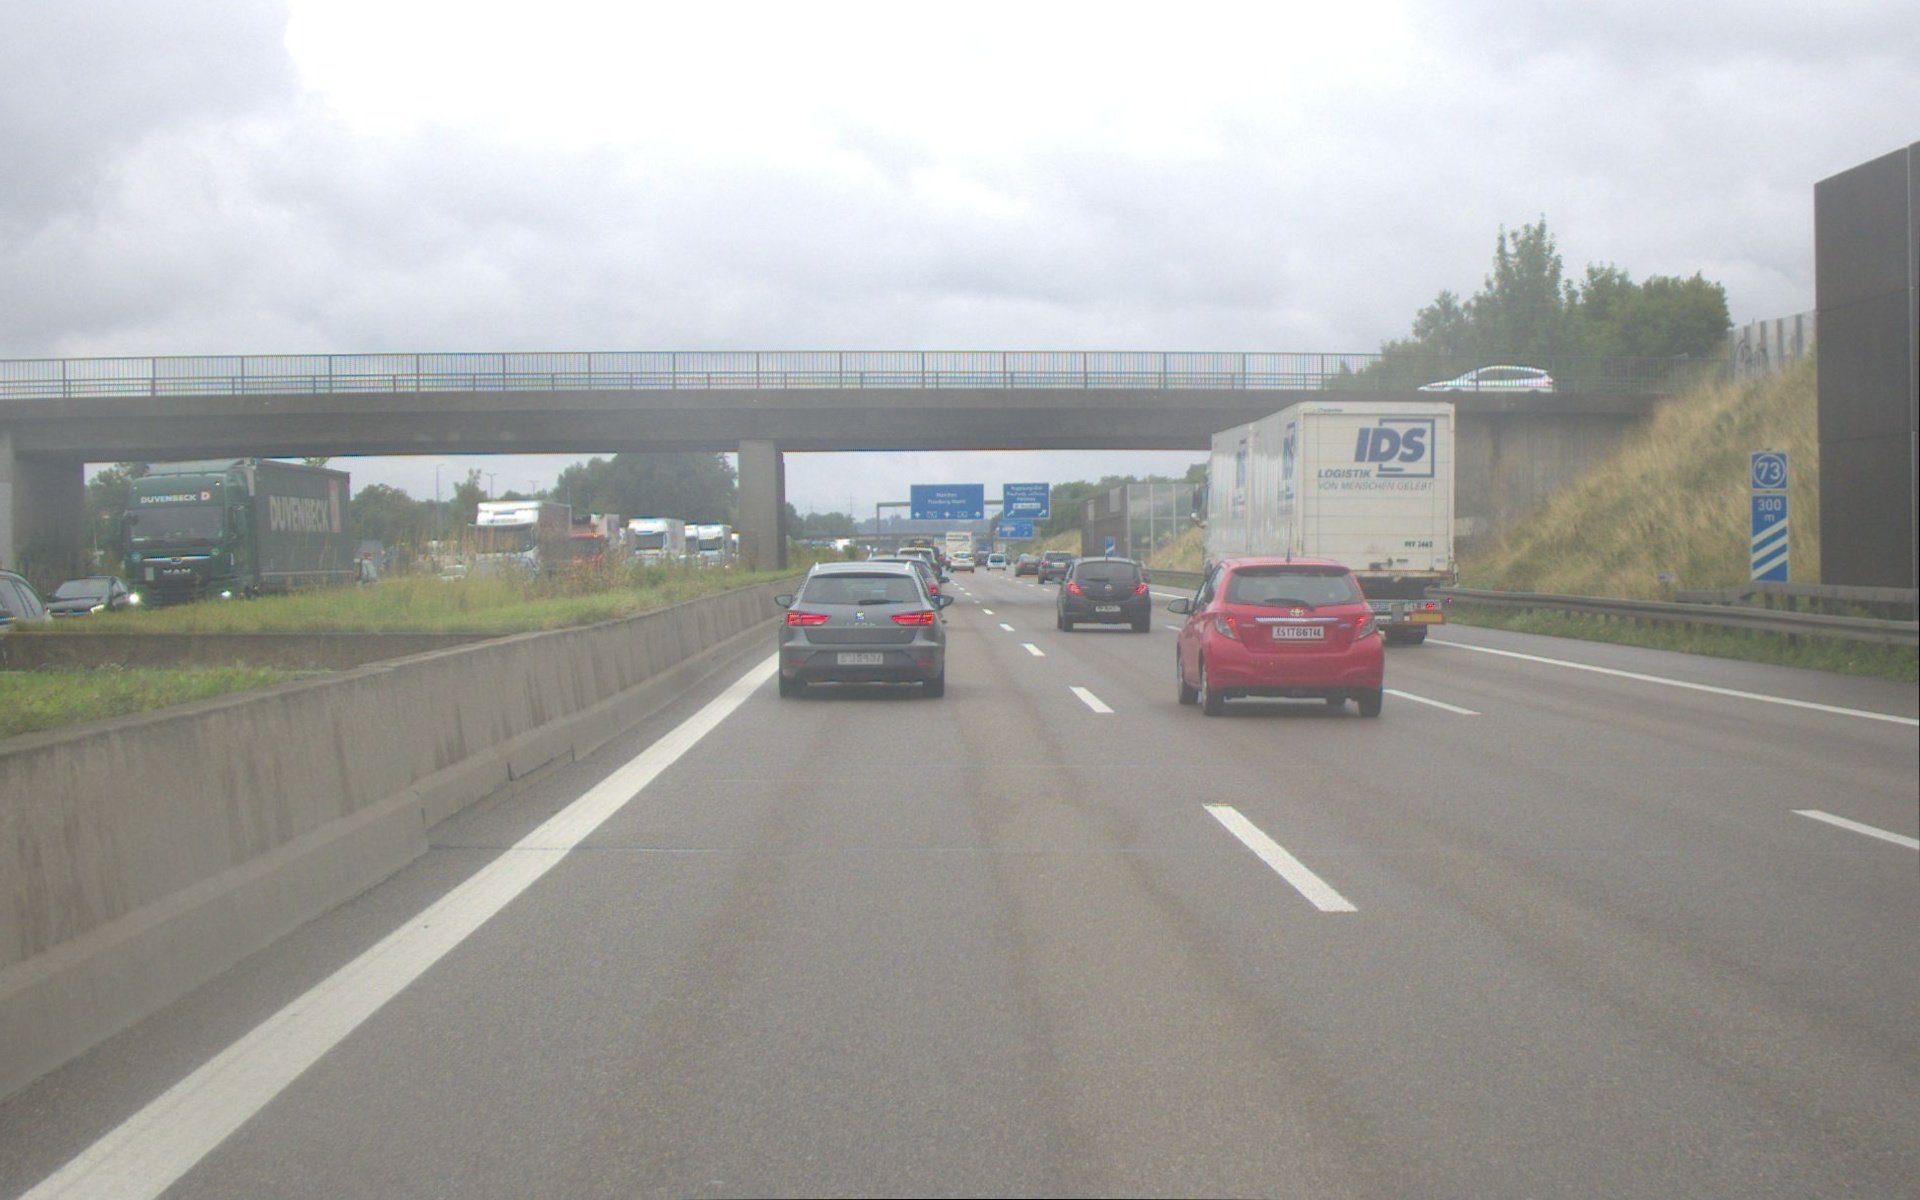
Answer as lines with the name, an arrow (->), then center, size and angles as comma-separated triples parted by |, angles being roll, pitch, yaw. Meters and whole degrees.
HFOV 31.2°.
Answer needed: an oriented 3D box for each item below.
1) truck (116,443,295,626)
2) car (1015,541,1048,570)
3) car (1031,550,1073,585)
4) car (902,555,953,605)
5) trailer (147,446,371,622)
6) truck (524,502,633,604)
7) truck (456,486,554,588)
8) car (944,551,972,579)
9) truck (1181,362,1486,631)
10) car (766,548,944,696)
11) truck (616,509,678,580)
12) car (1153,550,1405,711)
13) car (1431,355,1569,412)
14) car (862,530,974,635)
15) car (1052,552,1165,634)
truck -> -17.520, -1.494, 80.185 | 2.757, 4.036, 6.255 | 1, 0, -1
car -> 4.602, -2.879, 221.283 | 1.993, 1.806, 4.228 | -1, 1, 0
car -> 4.547, -1.614, 170.227 | 1.845, 1.681, 4.000 | 1, 0, -2
car -> -1.228, -0.772, 127.972 | 1.704, 1.790, 3.855 | -1, 1, -2
trailer -> -17.561, -1.579, 87.236 | 2.757, 4.036, 14.519 | 1, 0, -1
truck -> -19.499, -2.363, 176.816 | 4.033, 4.927, 14.434 | 1, 0, 0
truck -> -18.671, -2.551, 141.214 | 3.272, 4.031, 5.293 | 1, 0, 0
car -> -0.146, -2.646, 259.812 | 1.993, 2.007, 4.242 | 1, 0, -1
truck -> 6.652, -1.734, 65.076 | 3.283, 4.280, 19.034 | 1, 0, -1
car -> -1.106, 0.210, 36.828 | 1.768, 1.462, 4.000 | 1, 0, -1
truck -> -19.666, -3.475, 216.406 | 2.977, 4.304, 9.669 | 1, 0, 0
car -> 3.042, 0.249, 33.658 | 1.891, 1.442, 4.685 | 0, 1, -2
car -> 17.628, -7.065, 112.332 | 3.986, 1.612, 1.880 | 1, 0, -13
car -> -0.786, -0.356, 64.468 | 1.993, 1.854, 4.000 | -1, 1, 0
car -> 2.864, -0.169, 67.167 | 1.921, 1.516, 4.622 | 0, 1, -1
